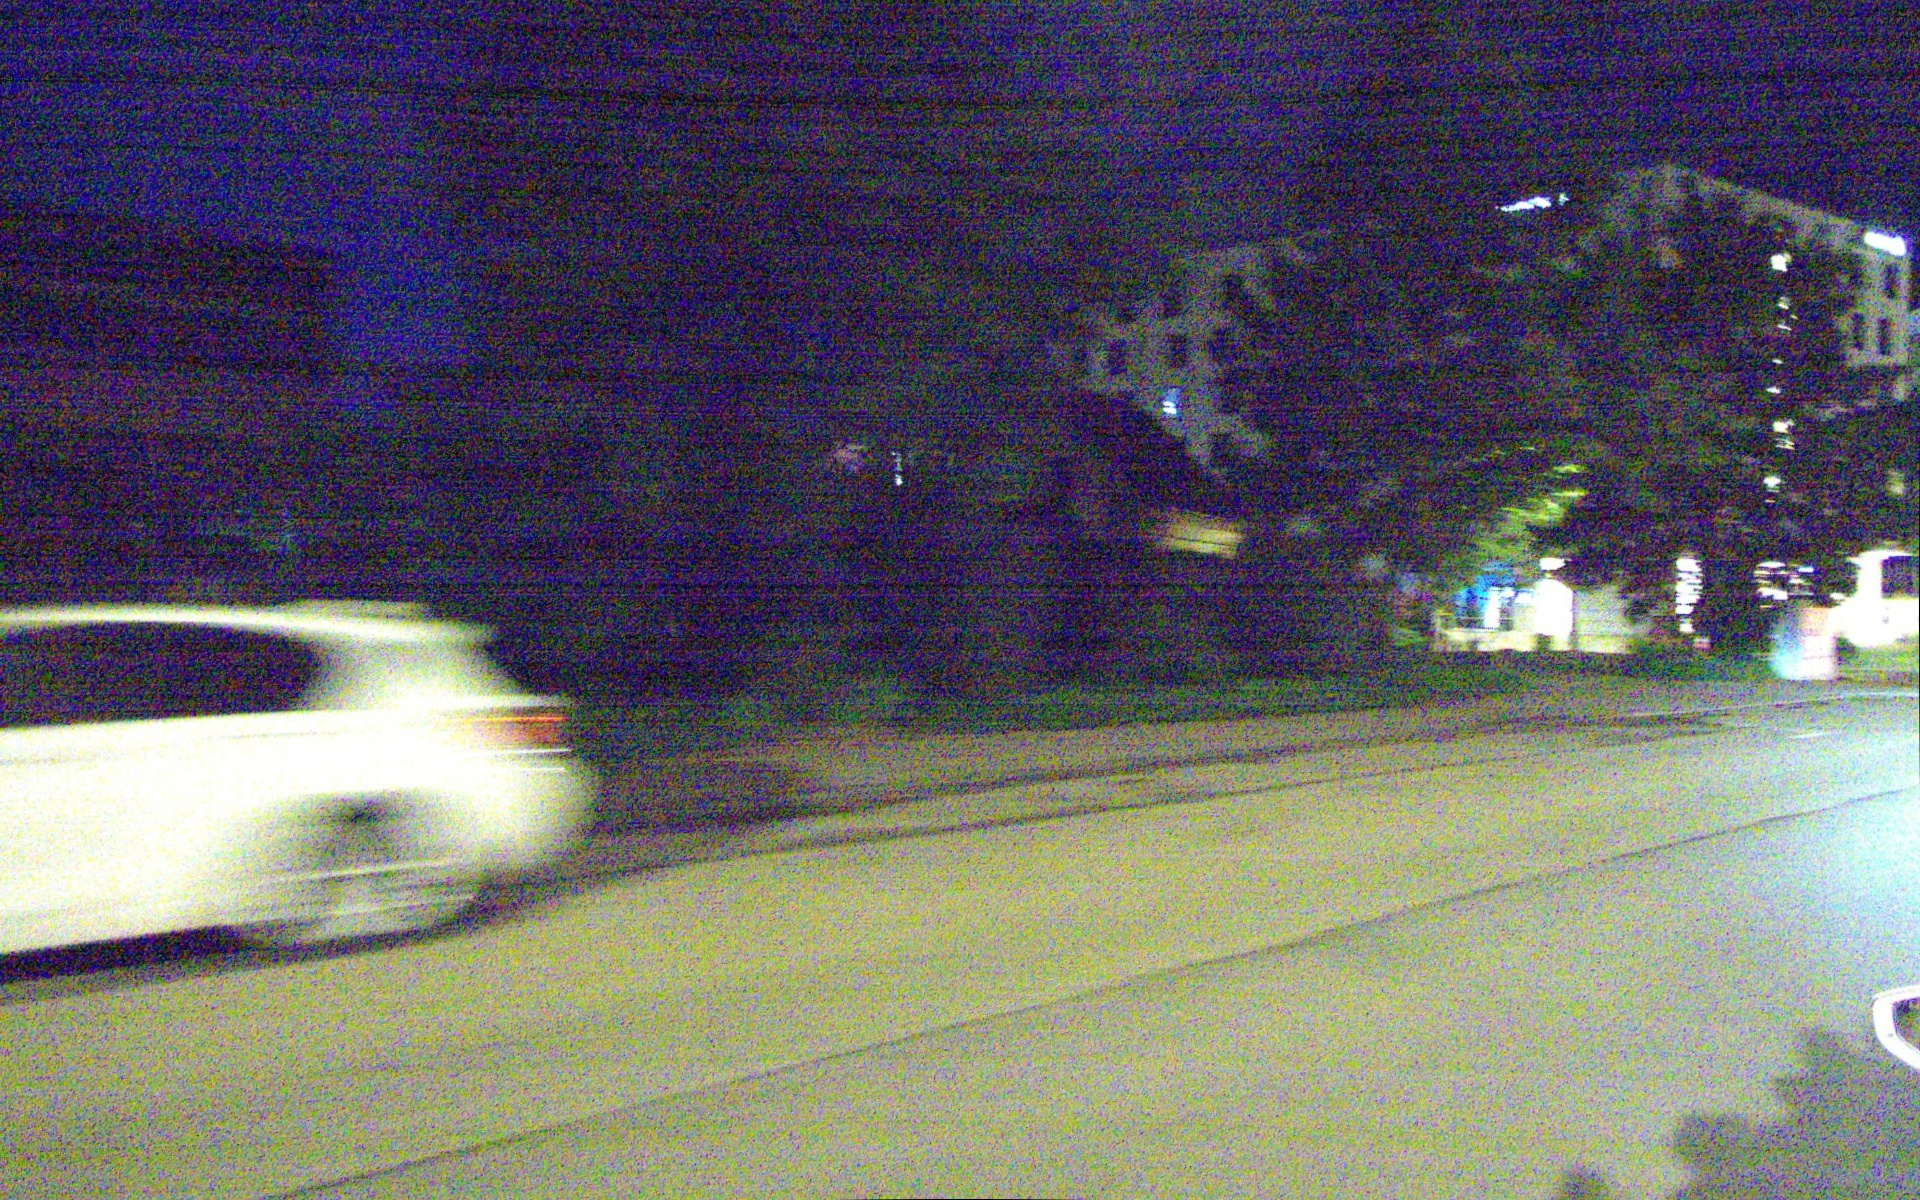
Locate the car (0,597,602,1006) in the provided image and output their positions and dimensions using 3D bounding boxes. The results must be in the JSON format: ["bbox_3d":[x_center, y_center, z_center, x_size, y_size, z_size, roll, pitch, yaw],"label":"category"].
[{"bbox_3d":[-3.937,0.708,4.252,4.288,1.422,1.901,1,-1,-32],"label":"car"}]

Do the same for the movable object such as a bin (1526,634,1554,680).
[{"bbox_3d":[17.060,1.676,29.553,0.608,1.324,0.569,-1,-2,20],"label":"movable object such as a bin"}]

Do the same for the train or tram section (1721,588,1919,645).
[{"bbox_3d":[64.548,1.166,70.155,2.884,3.874,19.116,1,-1,-25],"label":"train or tram section"}]
